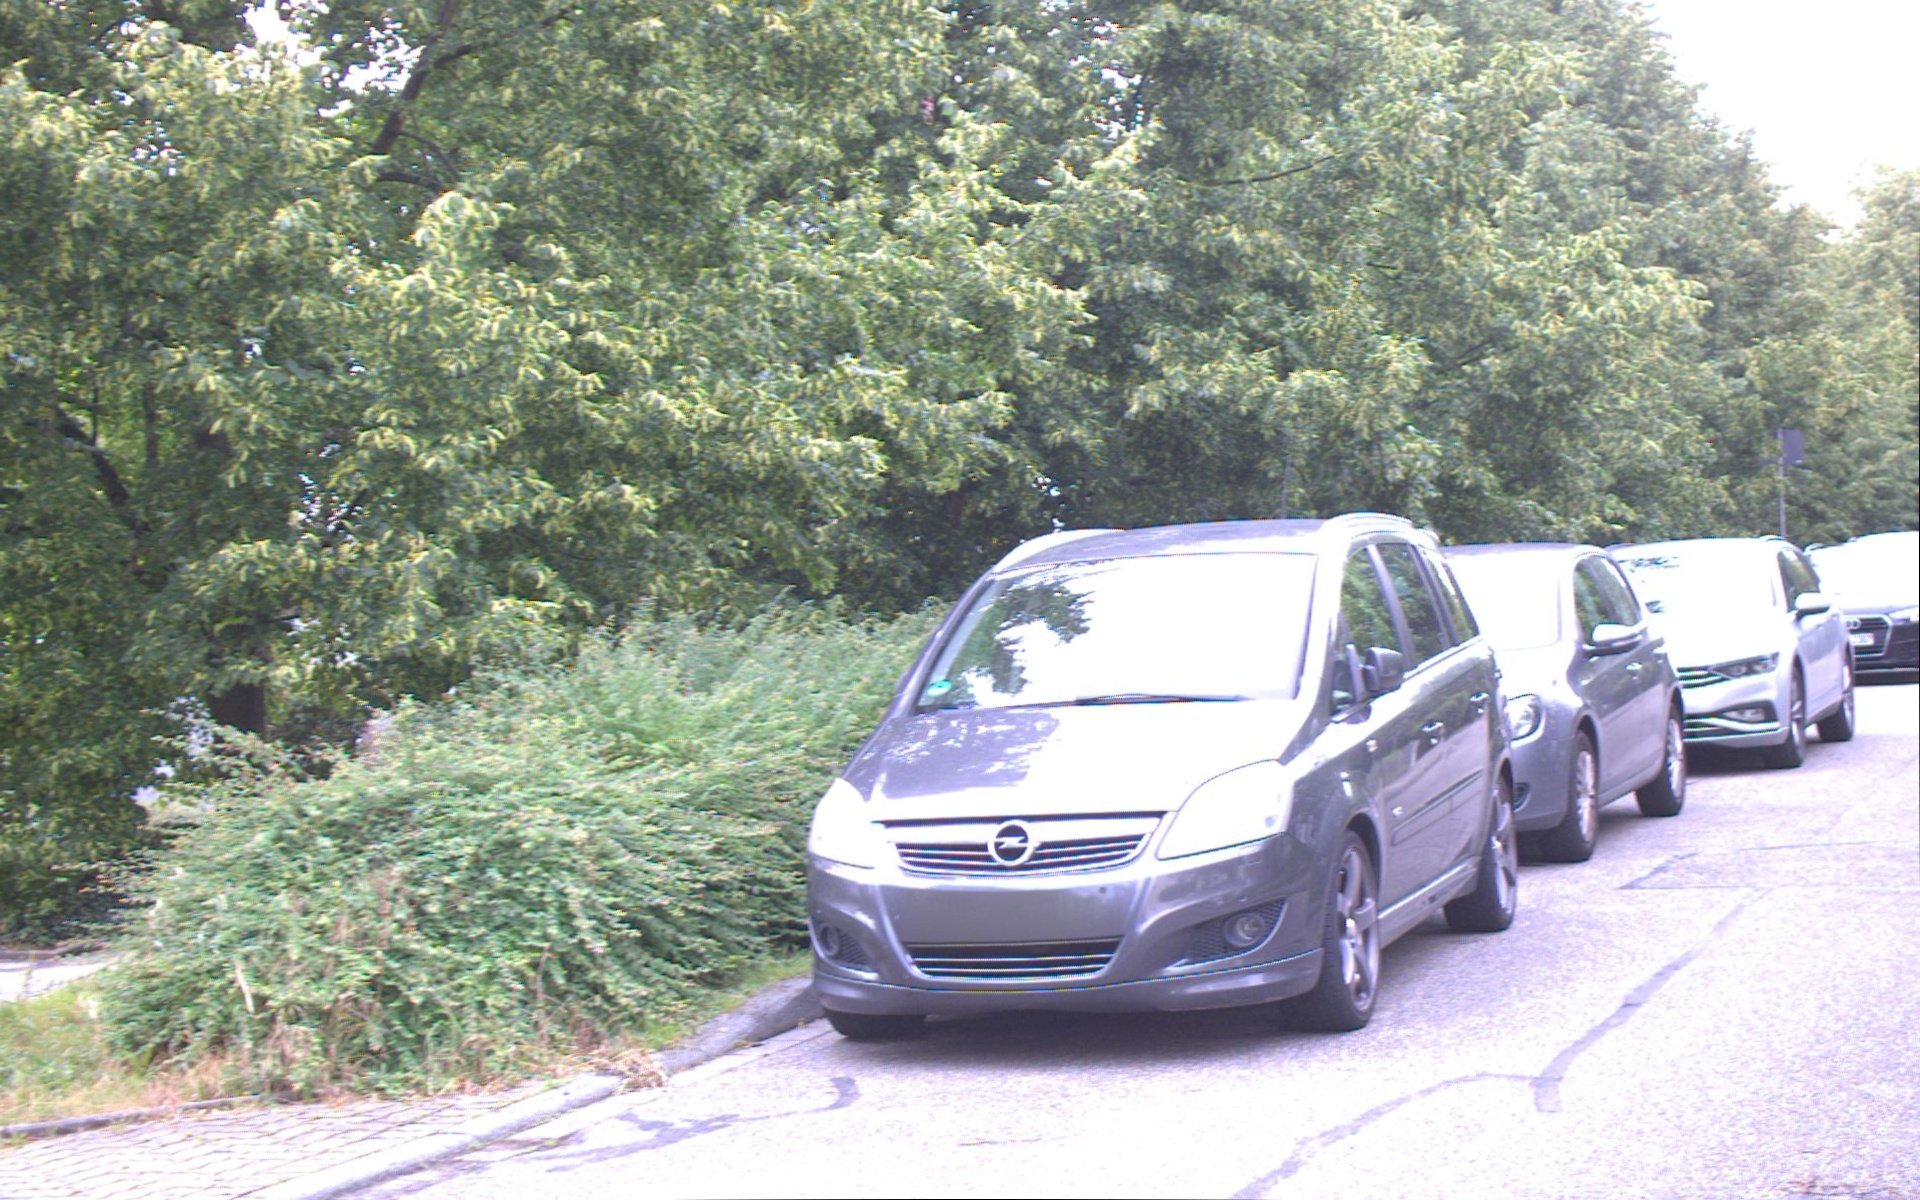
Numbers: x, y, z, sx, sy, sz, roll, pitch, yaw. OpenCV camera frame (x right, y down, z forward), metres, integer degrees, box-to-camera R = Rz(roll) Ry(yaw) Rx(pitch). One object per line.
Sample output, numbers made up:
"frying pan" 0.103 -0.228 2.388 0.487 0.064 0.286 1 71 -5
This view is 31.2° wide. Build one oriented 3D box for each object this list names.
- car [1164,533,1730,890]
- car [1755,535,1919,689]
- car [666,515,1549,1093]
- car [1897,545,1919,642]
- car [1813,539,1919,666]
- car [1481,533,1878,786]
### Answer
"car" 2.572 0.470 17.190 1.759 1.473 4.301 -3 0 22
"car" 9.373 0.076 35.385 1.753 1.420 3.996 -3 0 21
"car" 0.752 0.554 11.967 1.759 1.588 4.548 -3 0 19
"car" 15.553 -0.169 52.904 1.753 1.420 3.996 -3 0 21
"car" 11.580 -0.024 41.986 1.753 1.420 3.996 -3 0 21
"car" 4.887 0.334 22.871 1.778 1.423 4.474 -3 0 22
